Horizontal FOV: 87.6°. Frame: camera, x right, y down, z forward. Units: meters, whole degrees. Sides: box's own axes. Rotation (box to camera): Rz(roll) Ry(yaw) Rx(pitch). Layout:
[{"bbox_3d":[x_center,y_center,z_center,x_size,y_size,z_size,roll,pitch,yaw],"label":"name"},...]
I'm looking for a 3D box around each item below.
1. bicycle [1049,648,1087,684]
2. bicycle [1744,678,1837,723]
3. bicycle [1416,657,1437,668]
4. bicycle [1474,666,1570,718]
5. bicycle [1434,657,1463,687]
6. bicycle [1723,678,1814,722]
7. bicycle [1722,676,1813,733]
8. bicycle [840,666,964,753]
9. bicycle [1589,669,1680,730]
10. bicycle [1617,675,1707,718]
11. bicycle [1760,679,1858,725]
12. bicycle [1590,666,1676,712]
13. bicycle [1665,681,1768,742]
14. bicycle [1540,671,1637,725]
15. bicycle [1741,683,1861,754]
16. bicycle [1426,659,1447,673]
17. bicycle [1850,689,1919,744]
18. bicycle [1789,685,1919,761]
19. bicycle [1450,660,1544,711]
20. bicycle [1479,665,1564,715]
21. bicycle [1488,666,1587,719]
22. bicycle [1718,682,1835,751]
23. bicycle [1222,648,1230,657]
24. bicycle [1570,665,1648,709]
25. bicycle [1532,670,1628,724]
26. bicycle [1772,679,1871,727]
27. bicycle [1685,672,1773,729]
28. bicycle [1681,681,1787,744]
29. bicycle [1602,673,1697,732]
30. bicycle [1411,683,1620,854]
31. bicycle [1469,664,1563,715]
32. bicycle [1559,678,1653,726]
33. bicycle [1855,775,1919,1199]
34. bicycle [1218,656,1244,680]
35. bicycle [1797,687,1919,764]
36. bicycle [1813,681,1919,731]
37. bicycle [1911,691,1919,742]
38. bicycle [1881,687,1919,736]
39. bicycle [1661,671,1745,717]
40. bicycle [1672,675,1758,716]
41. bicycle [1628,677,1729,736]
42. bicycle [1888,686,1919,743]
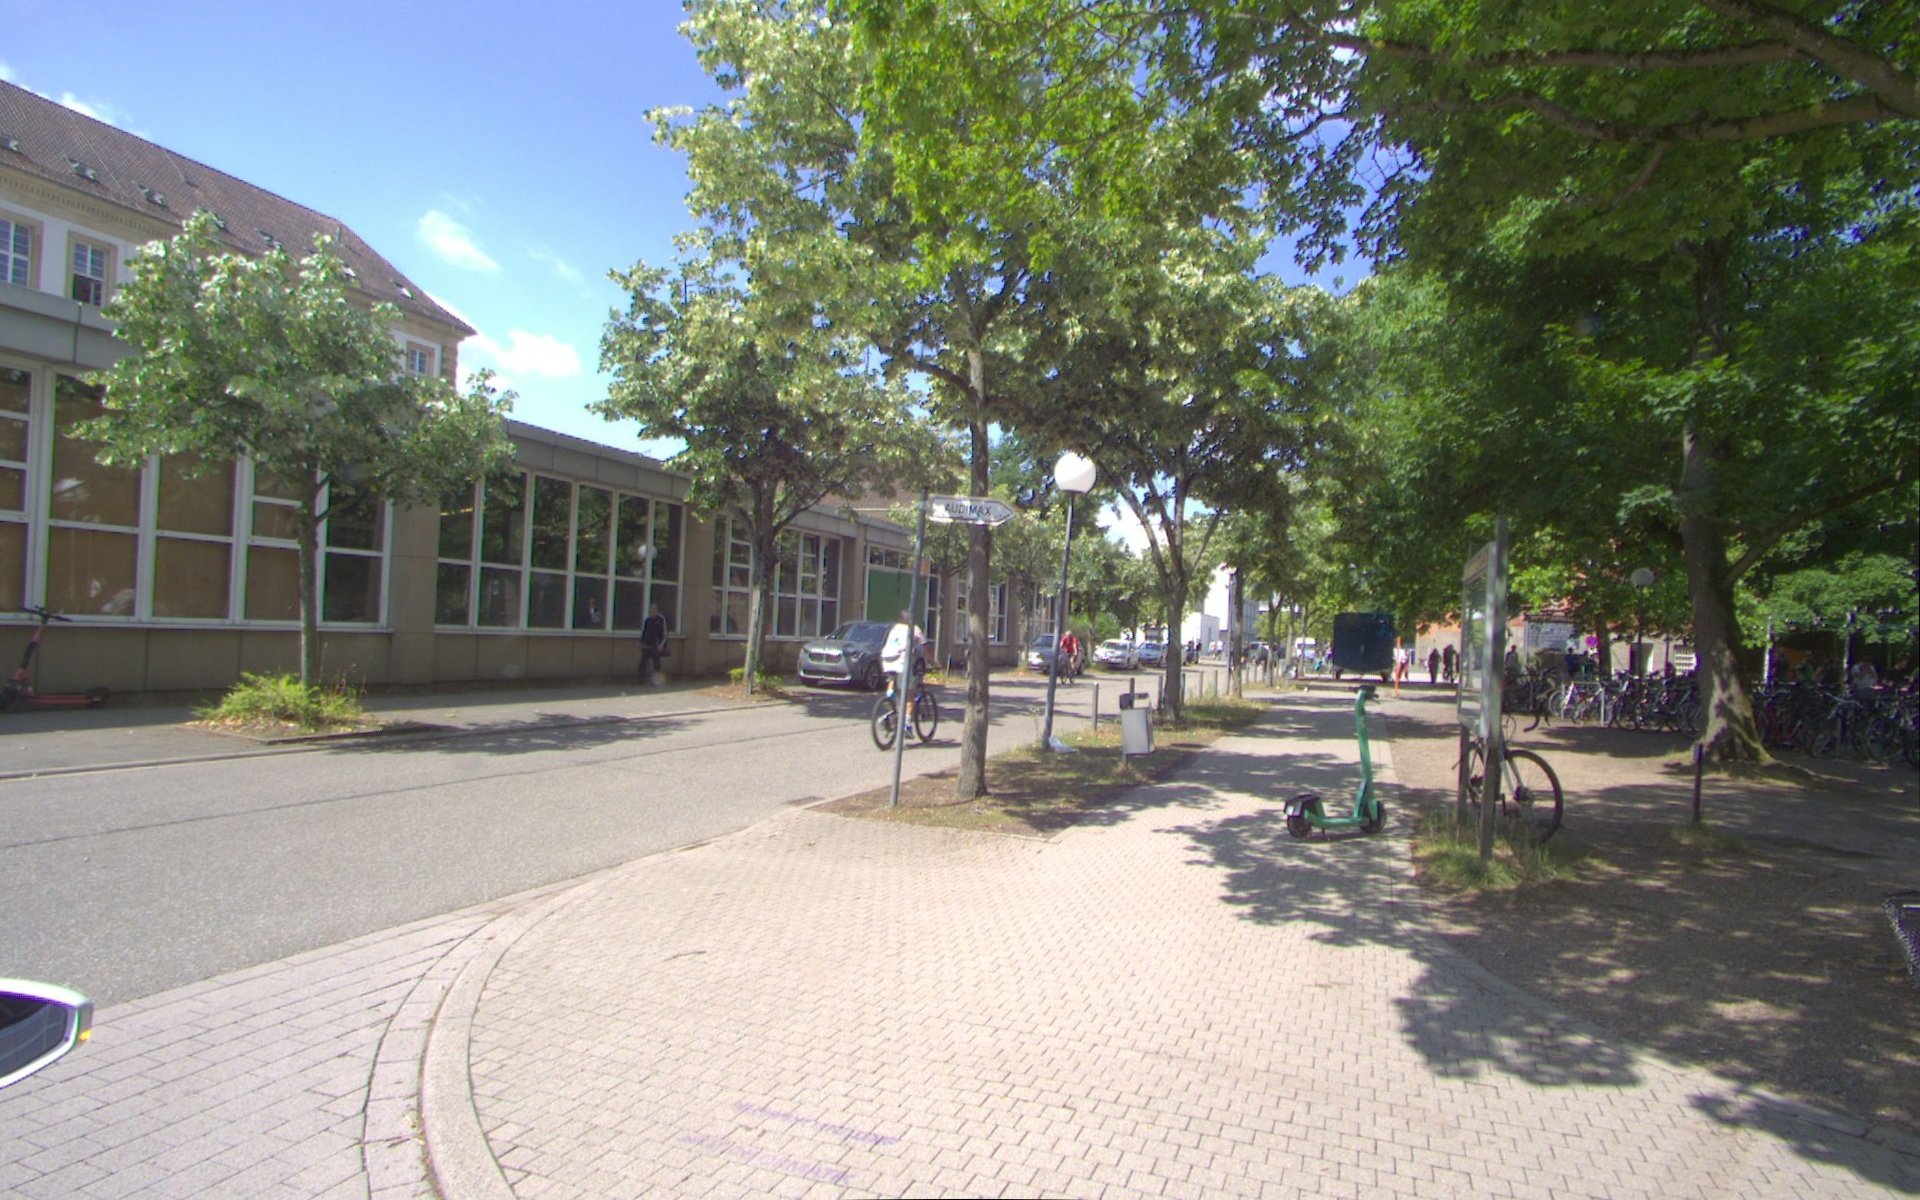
[{"bbox_3d":[3.596,2.188,33.152,0.804,1.054,1.931,3,-5,19],"label":"bicycle"},{"bbox_3d":[20.005,2.419,24.126,1.867,0.991,0.422,2,-1,1],"label":"bicycle"},{"bbox_3d":[45.807,6.156,98.347,1.784,0.997,0.559,1,-2,23],"label":"bicycle"},{"bbox_3d":[13.383,2.181,23.873,1.913,1.096,0.404,2,-1,11],"label":"bicycle"},{"bbox_3d":[21.851,3.189,44.808,0.521,1.268,1.738,1,-2,3],"label":"bicycle"},{"bbox_3d":[19.847,2.452,24.591,1.867,0.991,0.422,2,-1,1],"label":"bicycle"},{"bbox_3d":[17.341,2.223,21.555,0.469,1.096,1.905,2,-2,2],"label":"bicycle"},{"bbox_3d":[-0.766,1.482,14.018,0.797,1.015,2.119,4,-1,24],"label":"bicycle"},{"bbox_3d":[13.808,2.030,20.491,1.707,1.170,0.494,3,-1,-14],"label":"bicycle"},{"bbox_3d":[17.965,2.466,25.642,1.867,0.991,0.613,2,-2,1],"label":"bicycle"},{"bbox_3d":[19.874,2.386,23.447,1.867,0.991,0.479,2,-1,0],"label":"bicycle"},{"bbox_3d":[18.046,2.373,26.858,1.867,1.132,0.613,2,-1,1],"label":"bicycle"},{"bbox_3d":[13.883,2.041,18.374,1.759,1.041,0.381,3,-1,-9],"label":"bicycle"},{"bbox_3d":[13.663,2.122,21.776,1.876,1.073,0.325,2,-1,0],"label":"bicycle"},{"bbox_3d":[13.942,1.962,16.610,1.759,1.084,0.426,3,-1,-7],"label":"bicycle"},{"bbox_3d":[38.684,5.348,81.272,1.513,1.046,0.559,1,-1,23],"label":"bicycle"},{"bbox_3d":[17.927,2.242,19.297,1.875,0.991,0.477,3,-2,-26],"label":"bicycle"},{"bbox_3d":[14.123,1.939,15.826,1.759,1.084,0.426,3,-1,-5],"label":"bicycle"},{"bbox_3d":[13.734,2.171,25.637,1.982,1.182,0.652,2,-1,11],"label":"bicycle"},{"bbox_3d":[13.792,2.200,24.615,1.739,1.096,0.438,2,-1,11],"label":"bicycle"},{"bbox_3d":[13.343,2.123,23.162,1.913,1.096,0.404,2,-1,11],"label":"bicycle"},{"bbox_3d":[13.889,1.978,17.048,1.759,1.084,0.426,3,-1,-7],"label":"bicycle"},{"bbox_3d":[29.371,5.808,110.757,0.516,0.997,1.627,1,-2,27],"label":"bicycle"},{"bbox_3d":[18.142,2.420,28.015,1.774,1.132,0.613,2,-1,1],"label":"bicycle"},{"bbox_3d":[13.673,2.133,22.086,1.876,1.073,0.325,2,-1,0],"label":"bicycle"},{"bbox_3d":[19.832,2.368,23.072,1.867,0.991,0.479,2,-1,0],"label":"bicycle"},{"bbox_3d":[16.402,2.123,21.411,0.469,1.096,1.905,2,-2,2],"label":"bicycle"},{"bbox_3d":[13.854,2.017,17.926,1.759,1.041,0.382,3,-1,-9],"label":"bicycle"},{"bbox_3d":[13.582,2.016,19.723,1.707,1.066,0.494,3,-1,-14],"label":"bicycle"},{"bbox_3d":[4.200,1.227,7.727,0.616,1.096,1.690,5,-4,0],"label":"bicycle"},{"bbox_3d":[13.446,2.163,24.250,1.913,1.096,0.404,2,-1,11],"label":"bicycle"},{"bbox_3d":[13.516,2.133,20.959,1.705,0.921,0.494,3,-1,-6],"label":"bicycle"},{"bbox_3d":[2.808,1.017,2.398,1.764,1.155,0.602,3,-3,-35],"label":"bicycle"},{"bbox_3d":[12.464,3.113,45.976,0.797,1.015,2.119,3,-2,23],"label":"bicycle"},{"bbox_3d":[13.886,1.924,15.389,1.759,1.084,0.426,3,-1,-5],"label":"bicycle"},{"bbox_3d":[20.017,2.335,22.088,1.867,0.991,0.613,2,-2,1],"label":"bicycle"},{"bbox_3d":[19.880,2.329,19.797,1.868,0.991,0.478,2,-1,-7],"label":"bicycle"},{"bbox_3d":[20.392,2.351,21.042,1.868,0.991,0.536,2,-2,-11],"label":"bicycle"},{"bbox_3d":[20.352,2.564,27.450,1.867,1.158,0.479,2,-1,4],"label":"bicycle"},{"bbox_3d":[20.039,2.524,26.590,1.867,0.991,0.479,2,-1,4],"label":"bicycle"},{"bbox_3d":[13.835,2.048,19.286,1.763,1.041,0.440,3,-1,-9],"label":"bicycle"},{"bbox_3d":[18.167,2.140,18.776,1.875,0.991,0.477,3,-2,-26],"label":"bicycle"}]
